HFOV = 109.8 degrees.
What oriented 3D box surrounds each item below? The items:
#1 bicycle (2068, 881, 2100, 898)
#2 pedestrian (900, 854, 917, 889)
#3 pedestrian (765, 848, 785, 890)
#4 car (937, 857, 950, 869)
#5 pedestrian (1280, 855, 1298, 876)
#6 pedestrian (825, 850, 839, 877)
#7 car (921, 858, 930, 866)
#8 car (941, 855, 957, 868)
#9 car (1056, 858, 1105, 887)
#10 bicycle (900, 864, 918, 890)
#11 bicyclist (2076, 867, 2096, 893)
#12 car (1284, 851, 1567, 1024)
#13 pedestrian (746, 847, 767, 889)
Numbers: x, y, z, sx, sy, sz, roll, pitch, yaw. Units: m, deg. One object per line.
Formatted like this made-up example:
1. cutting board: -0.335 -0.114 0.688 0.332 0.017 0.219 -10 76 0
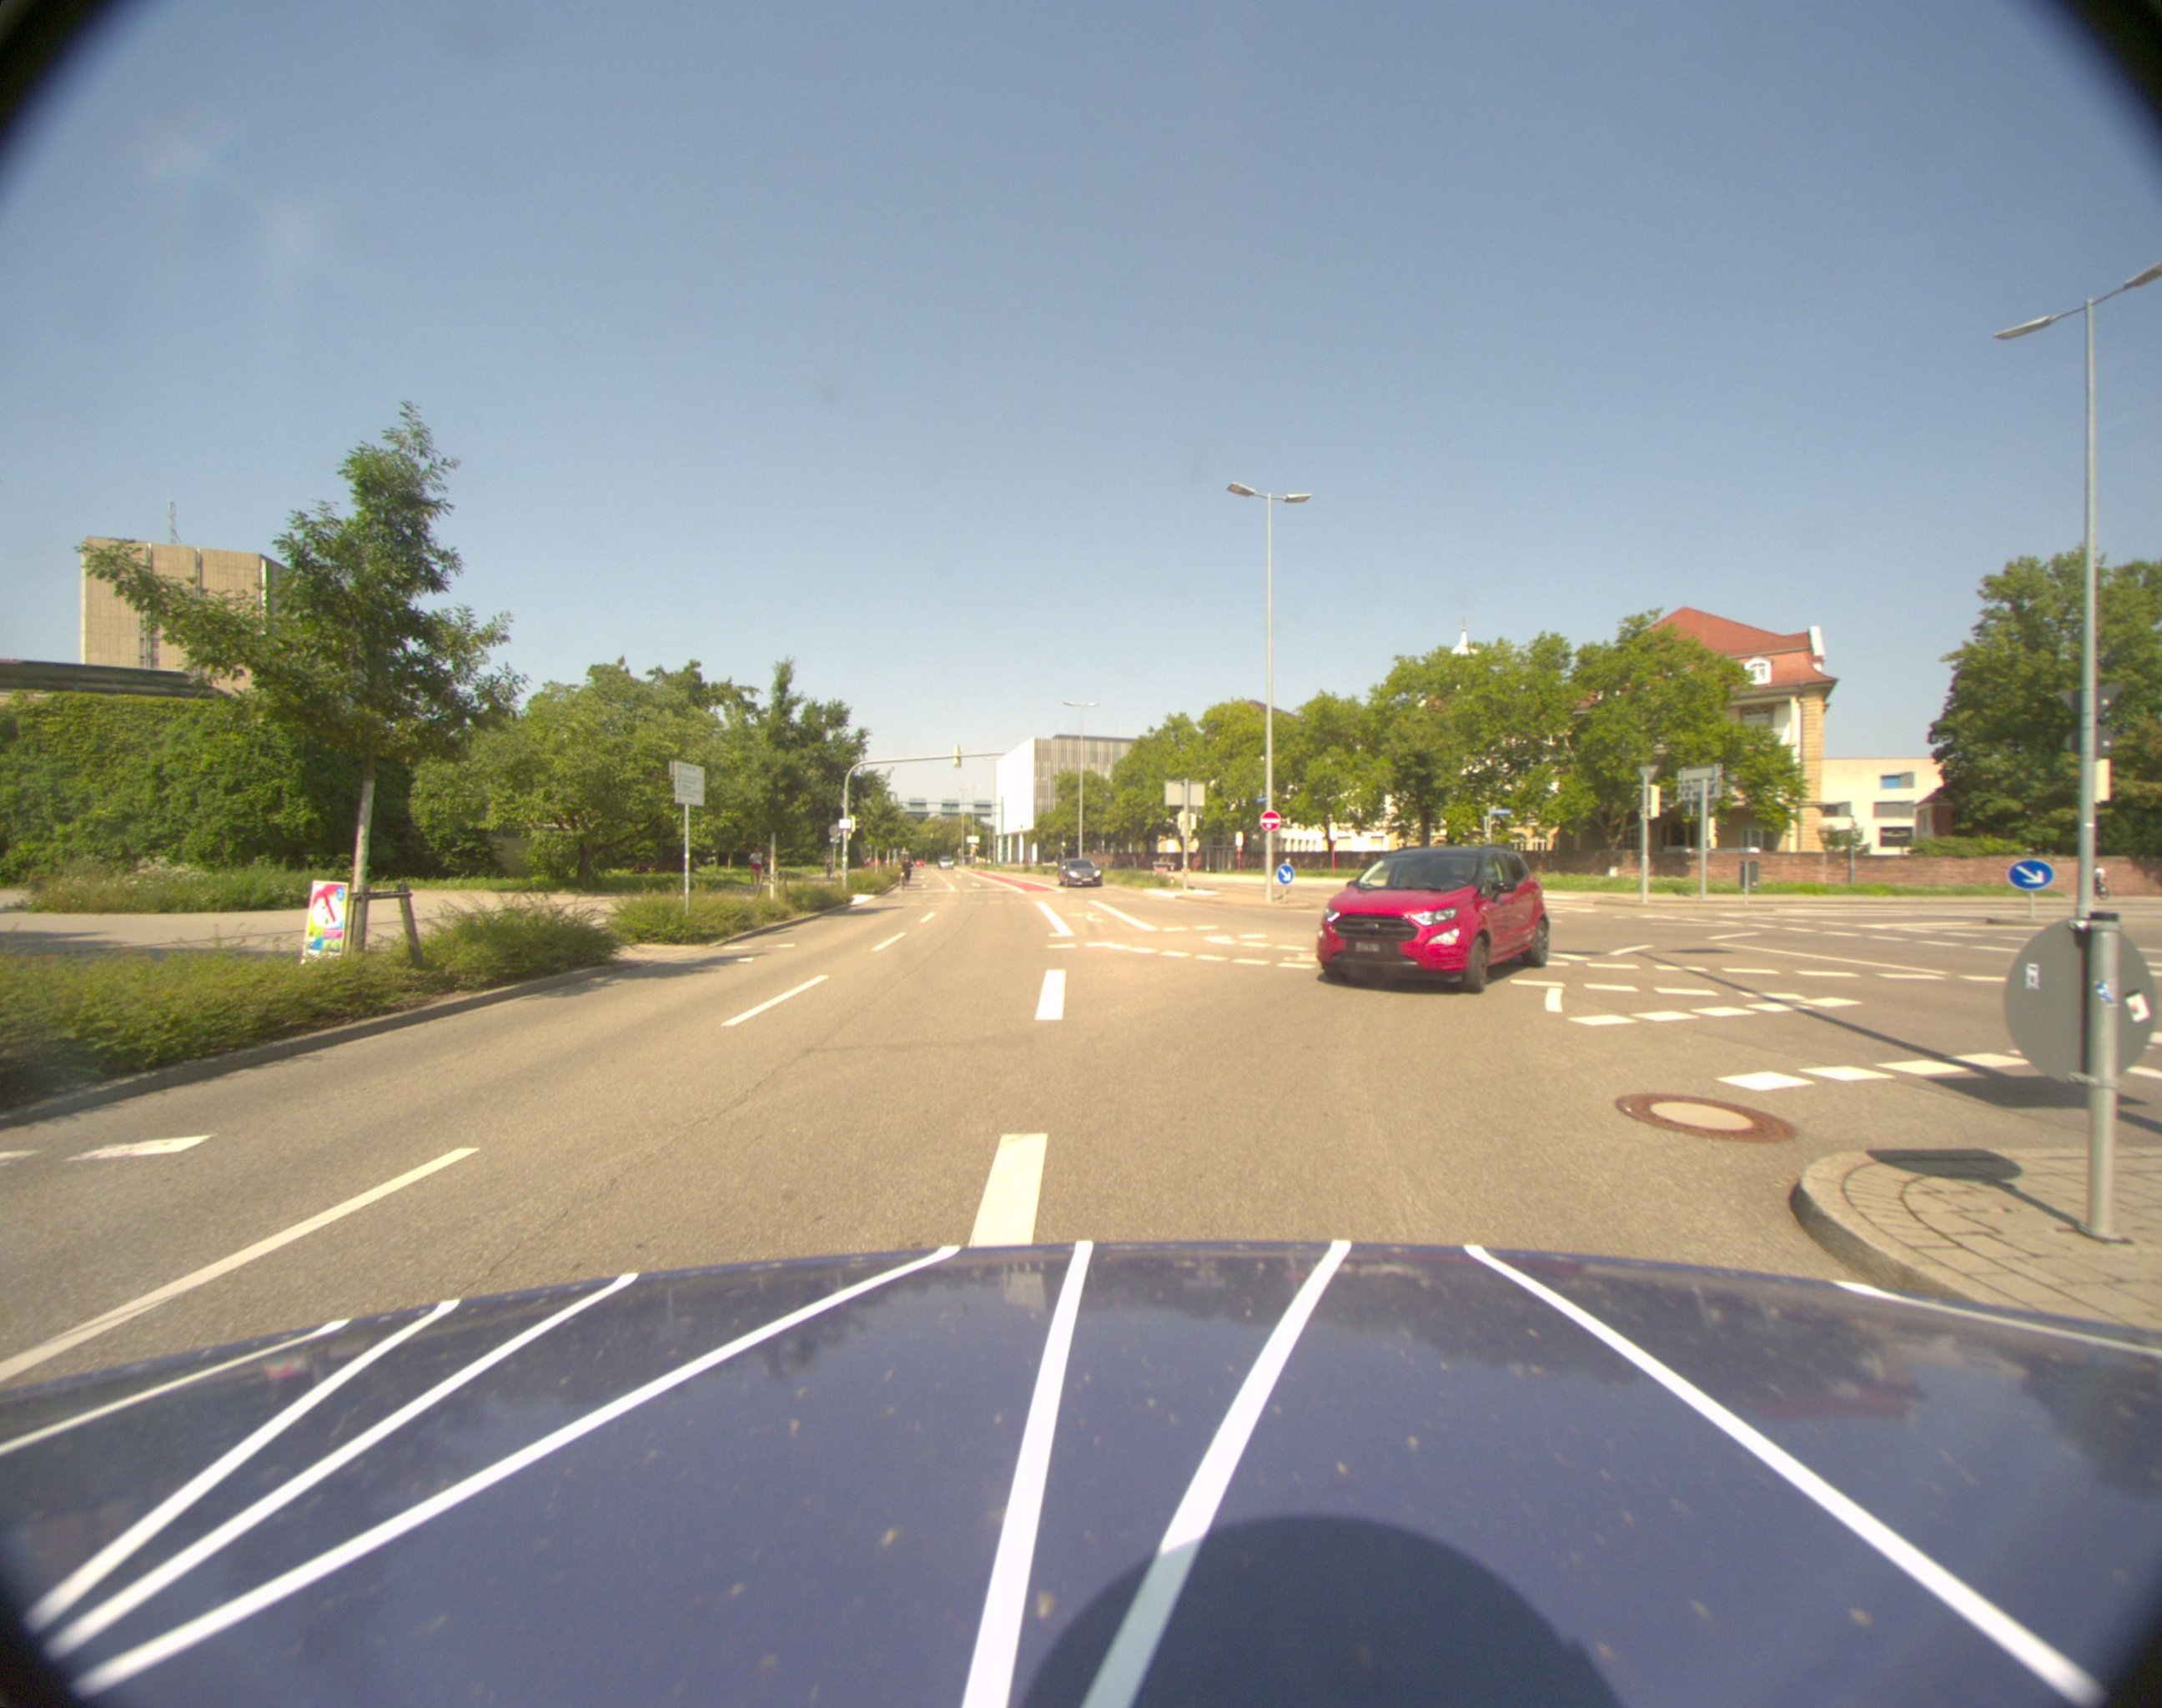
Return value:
1. bicycle: 48.194 1.690 36.512 1.487 0.807 0.437 0 0 -18
2. pedestrian: -8.399 0.851 37.078 0.781 1.659 0.548 0 0 -11
3. pedestrian: -12.928 0.617 32.102 0.694 1.761 0.587 0 0 -11
4. car: -21.578 1.388 119.229 2.001 1.769 3.996 0 0 -12
5. pedestrian: 19.807 1.100 72.324 1.074 2.002 1.231 1 1 -35
6. pedestrian: -16.459 0.635 50.205 0.794 1.758 0.825 0 0 -11
7. car: -33.217 1.750 162.212 2.001 1.769 3.996 0 0 -12
8. car: -17.319 1.016 99.722 2.001 1.669 3.996 0 0 -12
9. car: -0.066 0.891 38.797 1.792 1.349 3.420 -1 0 -12
10. bicycle: -8.409 1.110 37.129 0.786 1.205 1.787 0 0 -11
11. bicyclist: 48.365 1.256 36.563 0.541 1.226 0.432 0 0 -18
12. car: 4.399 0.809 9.397 4.008 1.605 1.840 -2 1 -44
13. pedestrian: -13.618 0.588 31.876 0.694 1.761 0.587 0 0 -11
